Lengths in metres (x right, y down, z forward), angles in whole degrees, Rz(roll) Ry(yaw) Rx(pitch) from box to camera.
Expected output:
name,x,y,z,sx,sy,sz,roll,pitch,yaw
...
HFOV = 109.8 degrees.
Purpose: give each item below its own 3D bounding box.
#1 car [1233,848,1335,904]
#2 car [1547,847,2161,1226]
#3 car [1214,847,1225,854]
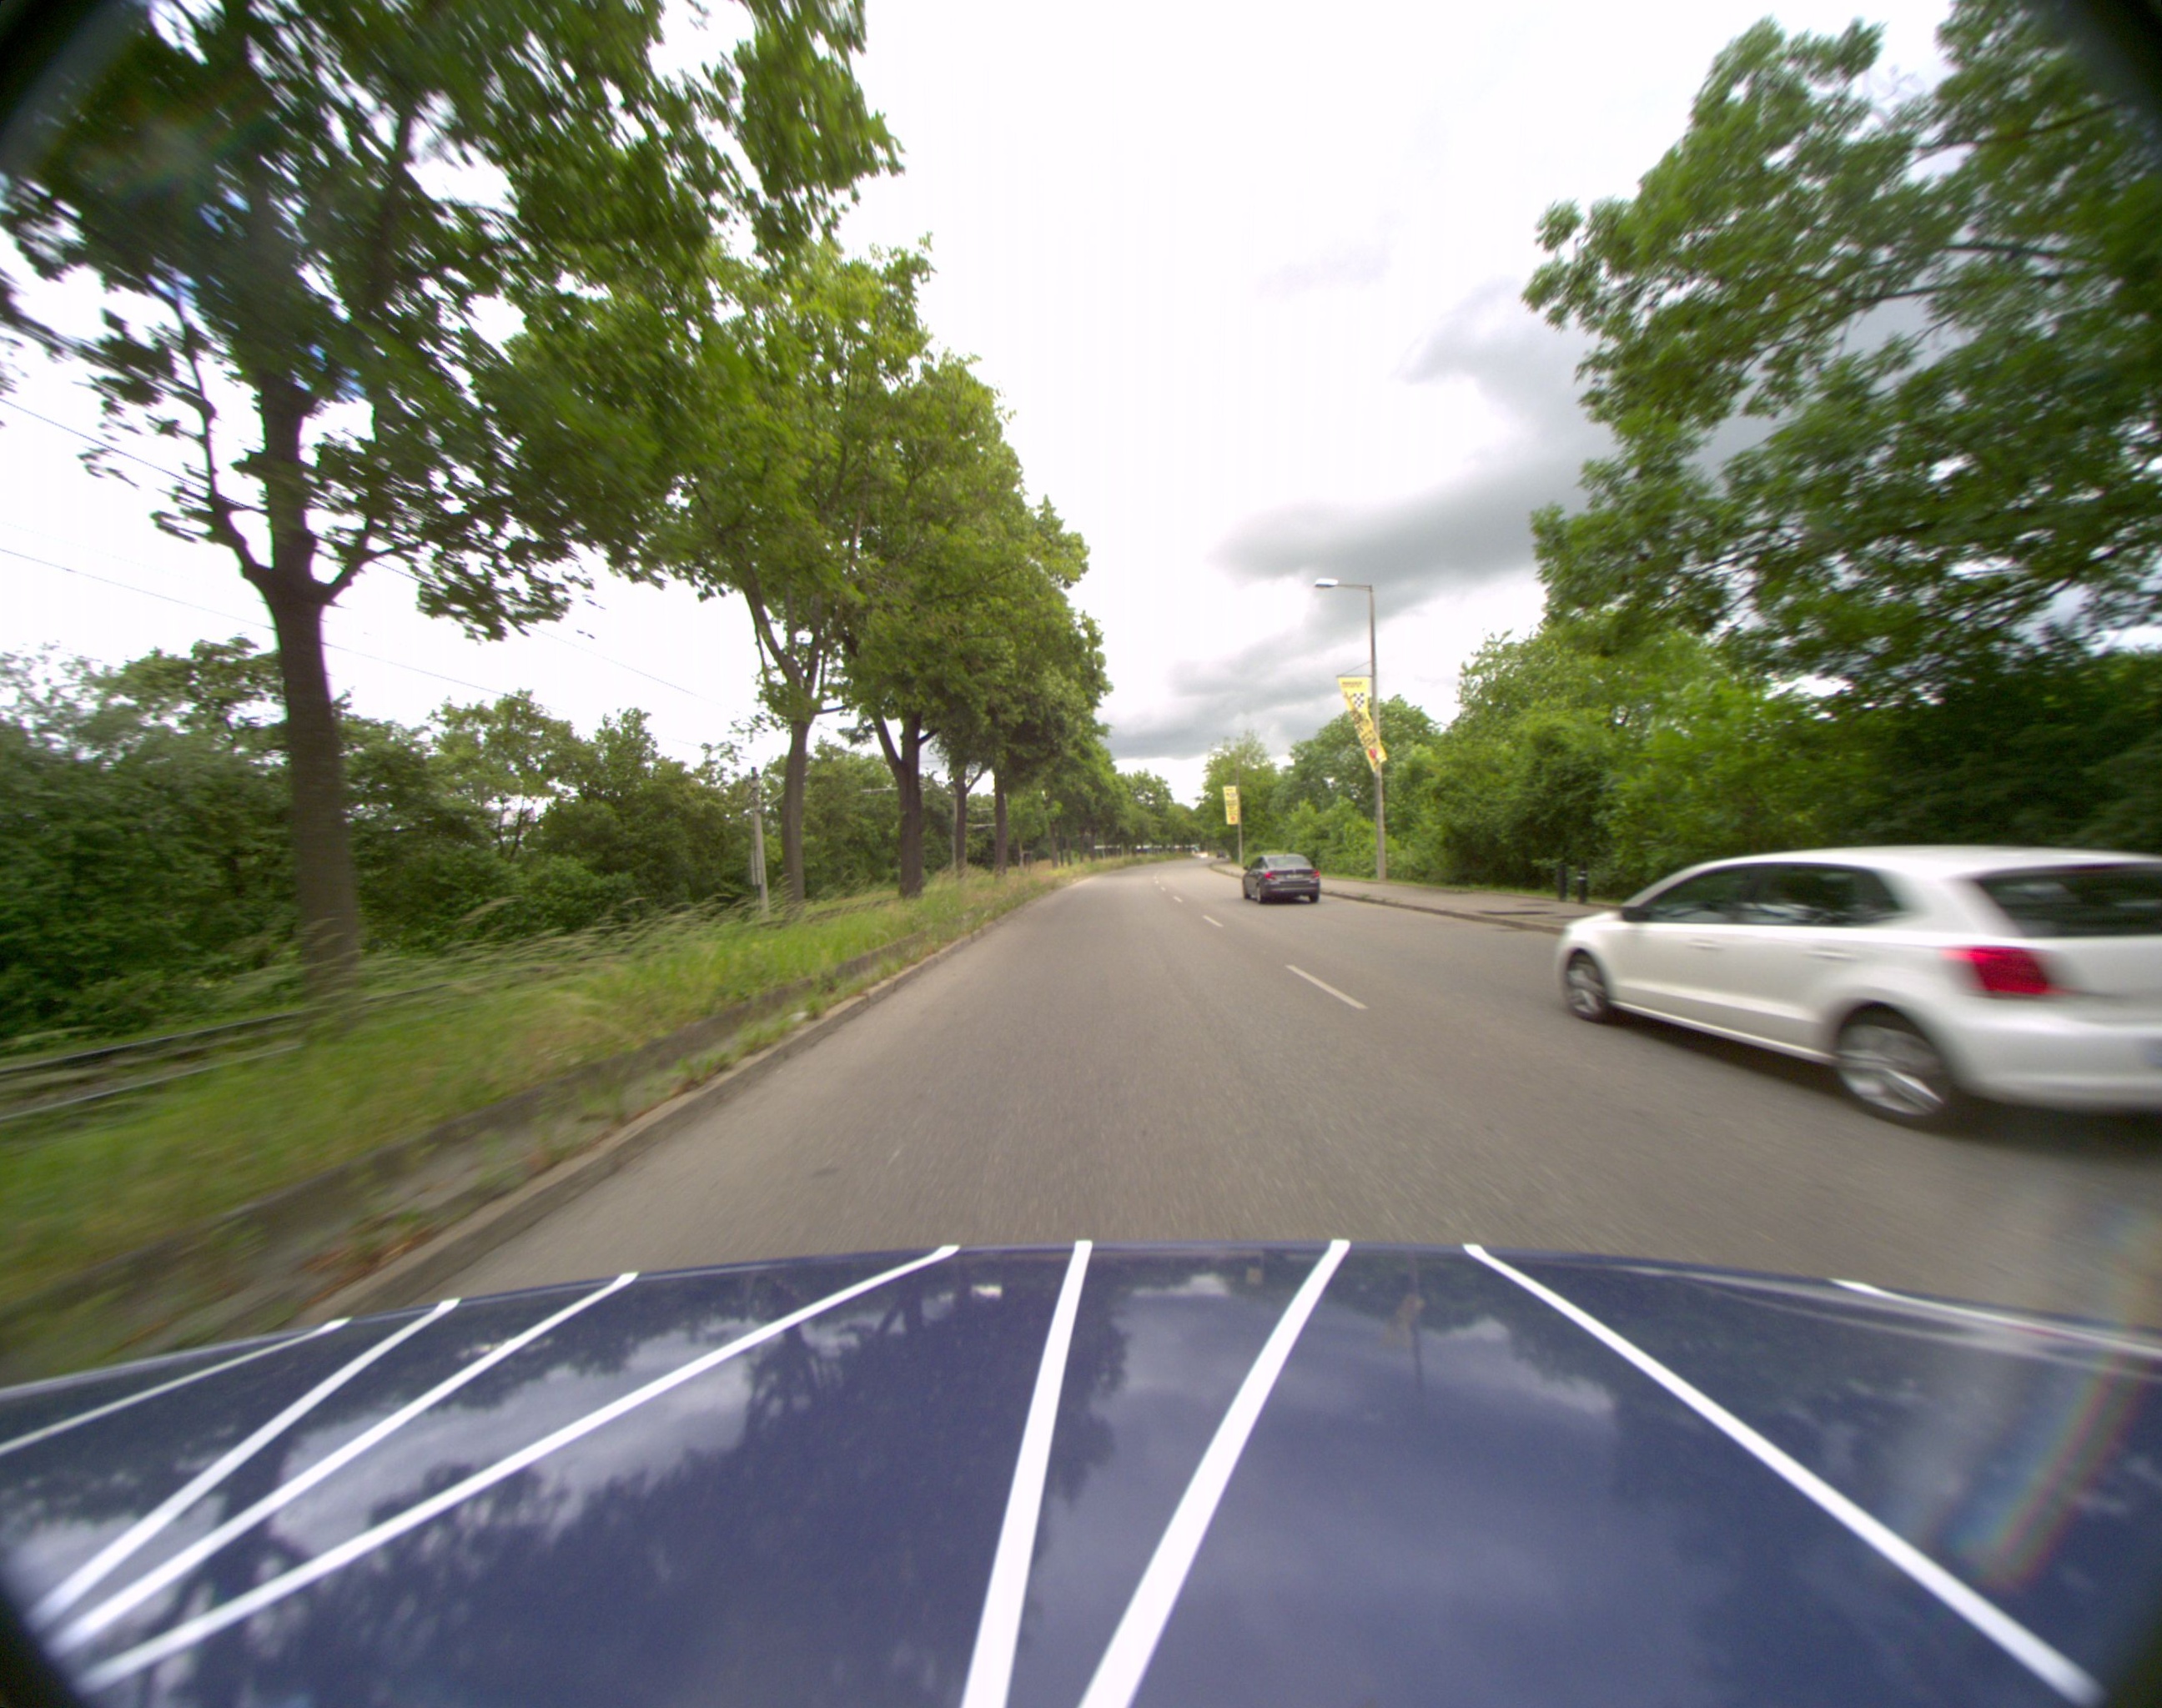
name,x,y,z,sx,sy,sz,roll,pitch,yaw
car,6.210,0.606,23.787,1.998,1.496,4.279,-2,1,0
car,5.102,0.710,4.979,1.728,1.420,4.000,-2,1,2
car,28.434,-0.728,155.705,1.797,1.401,4.003,-4,0,14
